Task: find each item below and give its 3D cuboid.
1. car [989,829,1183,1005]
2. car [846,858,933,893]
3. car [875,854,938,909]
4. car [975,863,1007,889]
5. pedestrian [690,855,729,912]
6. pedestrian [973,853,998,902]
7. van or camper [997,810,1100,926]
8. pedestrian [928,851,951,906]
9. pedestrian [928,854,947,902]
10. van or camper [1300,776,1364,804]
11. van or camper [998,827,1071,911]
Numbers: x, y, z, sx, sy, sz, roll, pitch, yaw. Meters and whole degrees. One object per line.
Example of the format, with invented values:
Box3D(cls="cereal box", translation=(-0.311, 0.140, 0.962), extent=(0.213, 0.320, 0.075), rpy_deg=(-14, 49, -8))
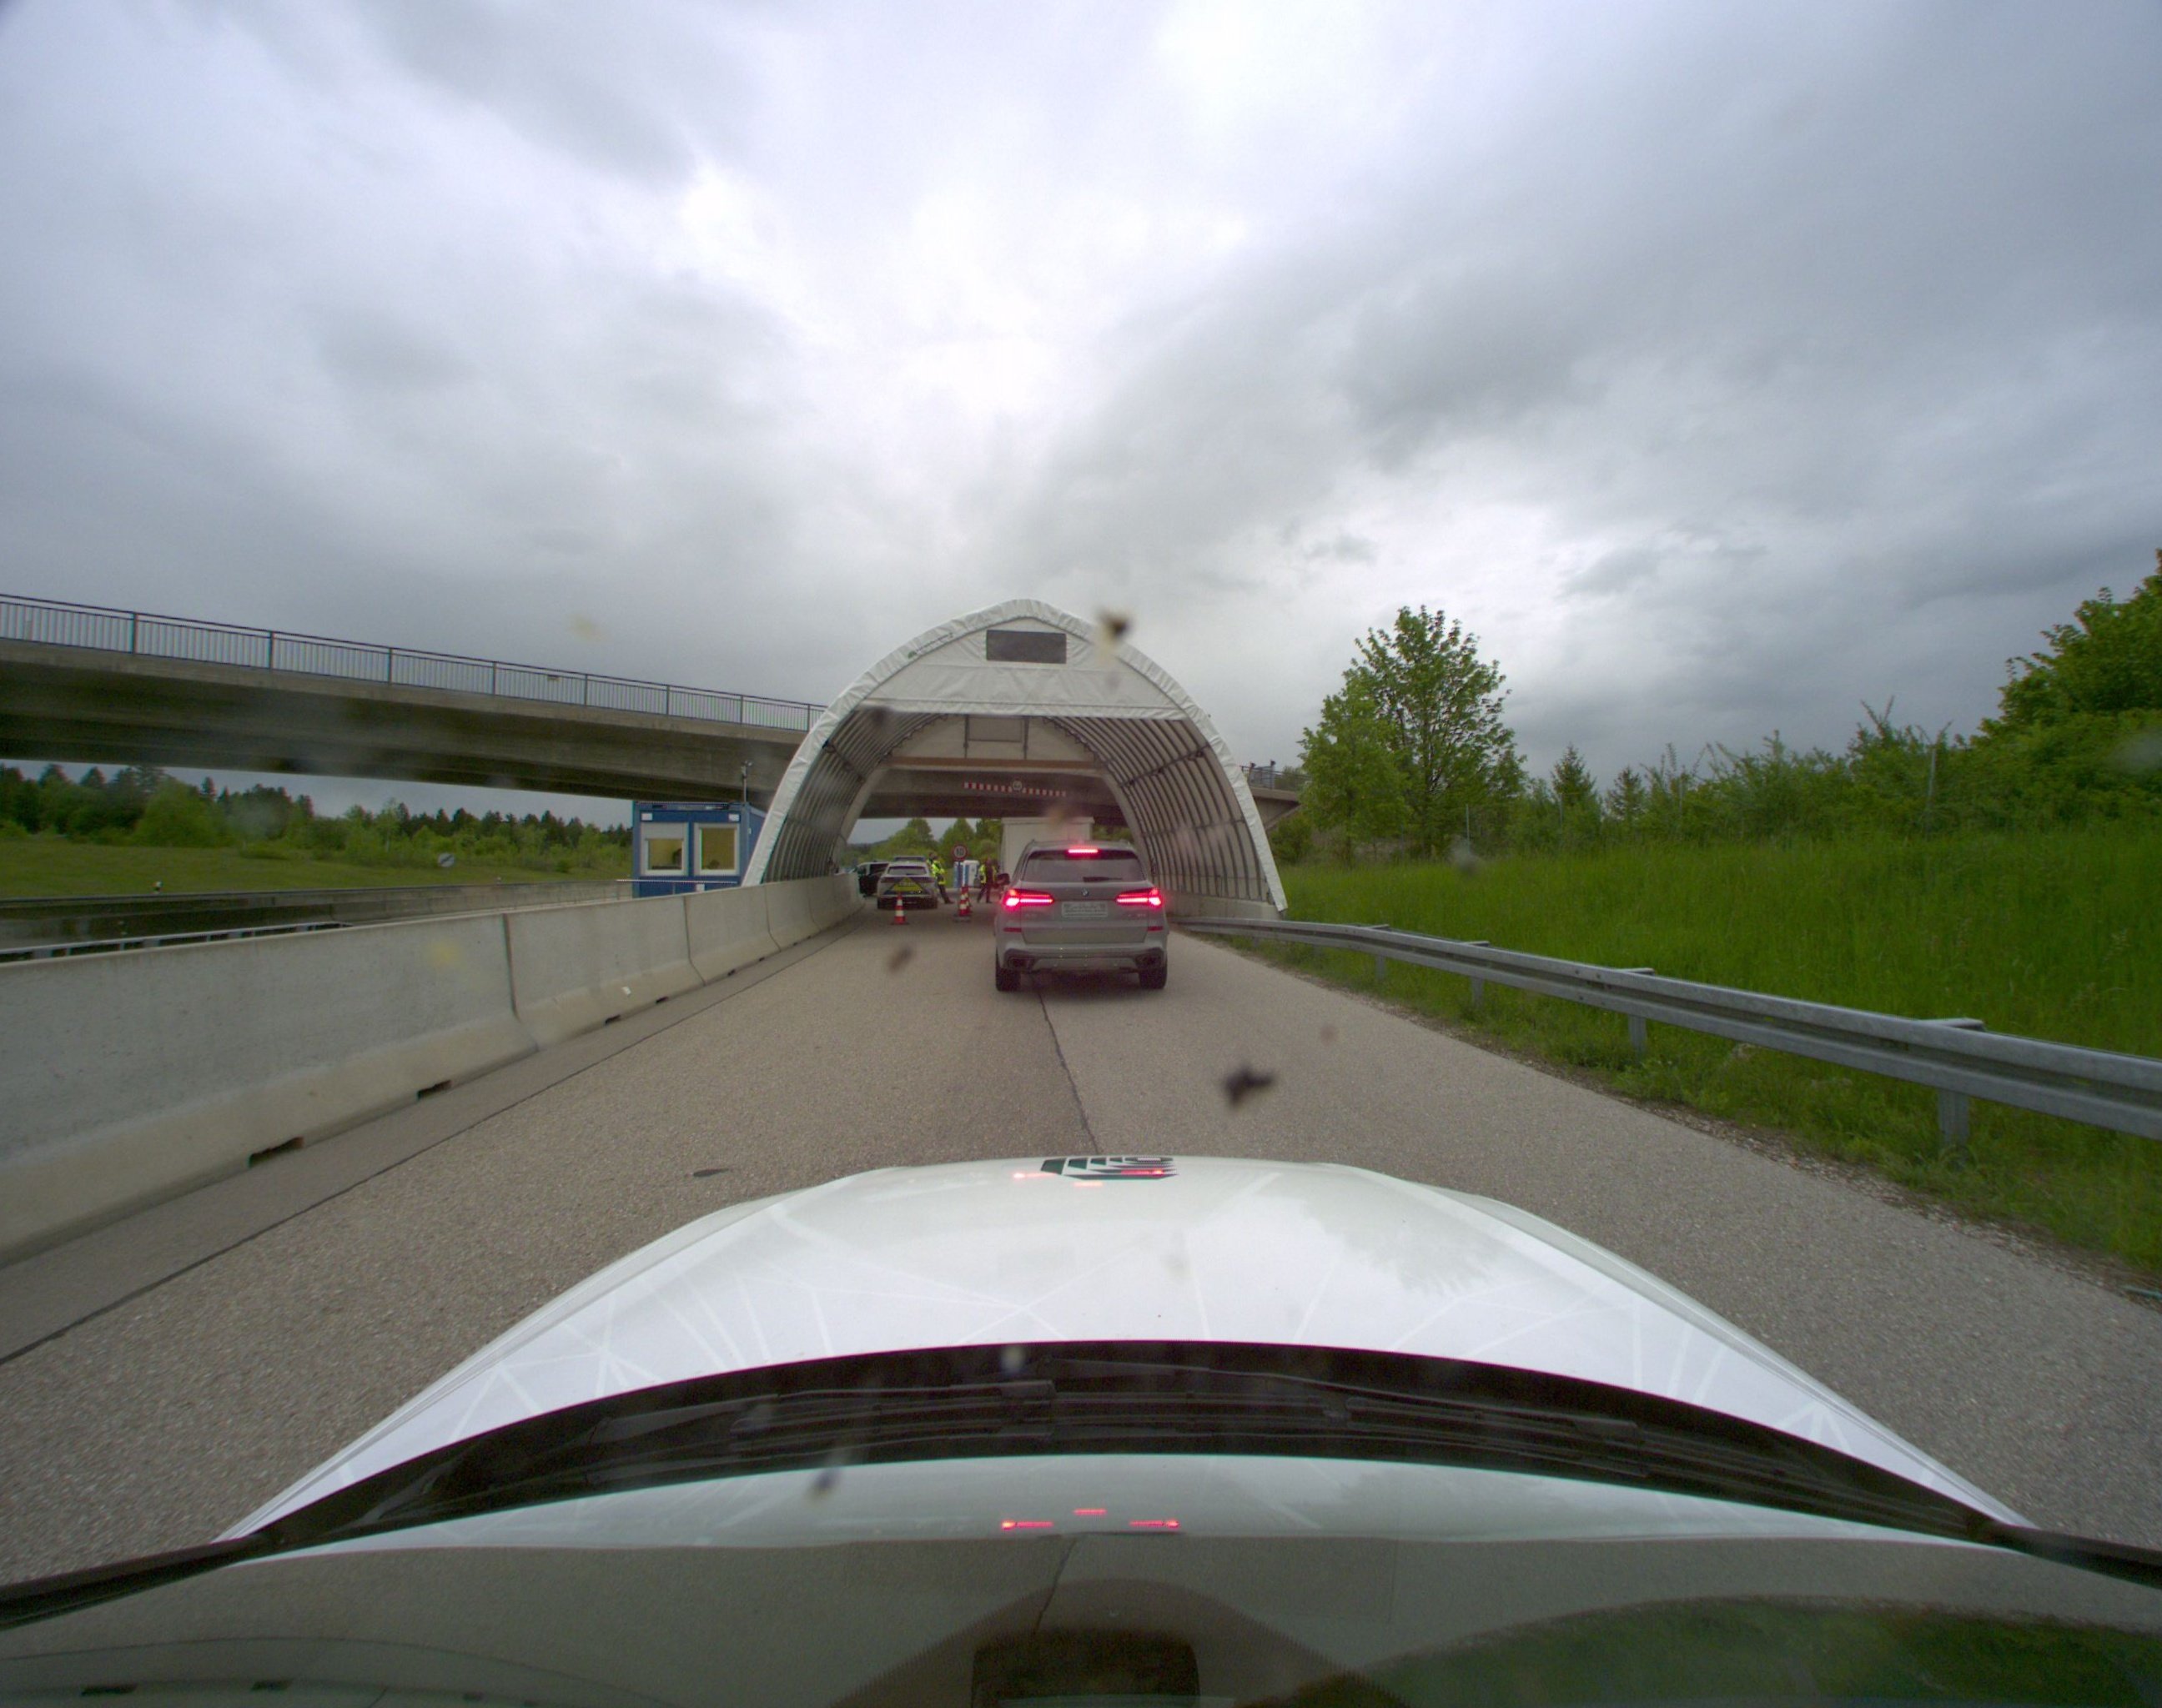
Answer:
Box3D(cls="car", translation=(-0.162, 0.666, 10.475), extent=(1.992, 1.765, 3.990), rpy_deg=(-1, -1, -7))
Box3D(cls="car", translation=(-11.588, 1.291, 49.365), extent=(4.777, 2.014, 1.845), rpy_deg=(-1, -1, 9))
Box3D(cls="car", translation=(-5.786, 0.872, 27.030), extent=(1.879, 1.647, 3.983), rpy_deg=(-1, -1, -12))
Box3D(cls="car", translation=(-6.503, 1.548, 58.778), extent=(1.994, 1.722, 3.882), rpy_deg=(-1, -1, -11))
Box3D(cls="pedestrian", translation=(-9.255, 0.733, 20.306), extent=(0.606, 1.373, 0.629), rpy_deg=(-2, -1, 10))
Box3D(cls="pedestrian", translation=(-3.478, 0.857, 29.555), extent=(0.781, 1.722, 0.753), rpy_deg=(-1, -1, -14))
Box3D(cls="van or camper", translation=(-1.065, 0.353, 21.575), extent=(2.227, 2.552, 6.595), rpy_deg=(-1, -1, -6))
Box3D(cls="pedestrian", translation=(-5.090, 0.867, 29.200), extent=(0.750, 1.919, 0.759), rpy_deg=(-1, -1, -13))
Box3D(cls="pedestrian", translation=(-5.308, 0.876, 30.157), extent=(0.607, 1.754, 0.665), rpy_deg=(-1, -1, -4))
Box3D(cls="van or camper", translation=(19.306, -4.848, 62.477), extent=(5.477, 1.770, 1.875), rpy_deg=(0, -1, -37))
Box3D(cls="van or camper", translation=(-1.699, 0.492, 27.669), extent=(2.102, 2.519, 5.537), rpy_deg=(-1, -1, -7))
